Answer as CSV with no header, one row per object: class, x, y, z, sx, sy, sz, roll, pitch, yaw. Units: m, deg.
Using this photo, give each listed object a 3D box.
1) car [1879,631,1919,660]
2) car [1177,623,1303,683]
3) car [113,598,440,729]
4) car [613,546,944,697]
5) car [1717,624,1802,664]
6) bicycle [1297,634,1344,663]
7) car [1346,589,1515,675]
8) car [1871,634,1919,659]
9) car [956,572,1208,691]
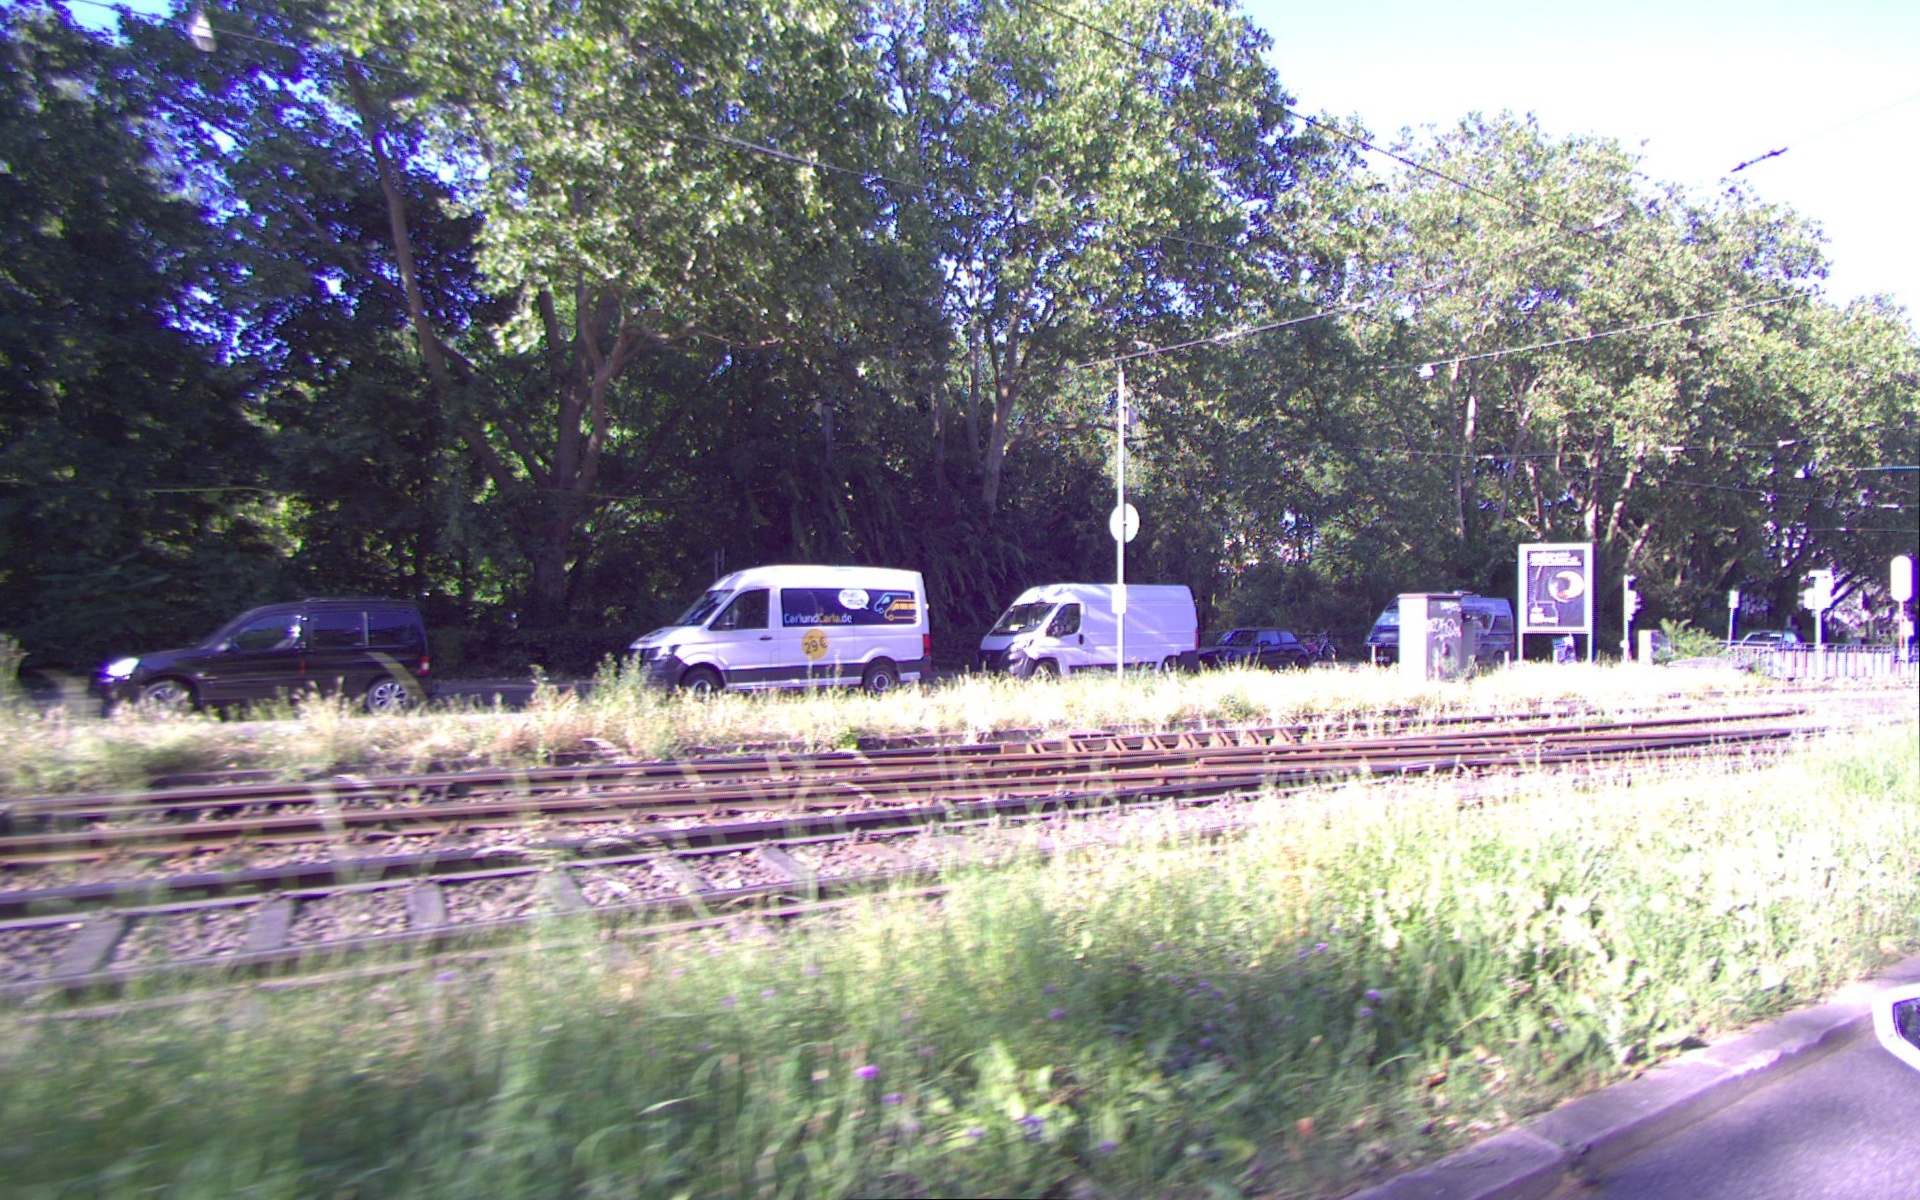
car,52.022,2.512,54.831,4.296,1.530,1.784,2,-3,-34
car,7.607,1.421,27.232,3.233,1.532,1.641,2,-3,-35
car,-10.145,0.932,15.202,3.842,1.750,1.728,2,-3,-34
car,-3.396,0.486,19.548,5.988,2.553,2.170,2,-3,-34
car,35.258,1.942,44.281,3.934,1.673,1.890,2,-3,-35
bicycle,13.328,1.790,37.120,1.841,1.043,0.578,2,-1,-30
car,15.146,1.073,32.201,5.970,2.553,2.170,2,-3,-34
car,50.740,2.521,53.926,4.270,1.309,1.759,2,-3,-34
car,3.055,0.803,24.126,6.210,2.553,2.169,2,-3,-36
